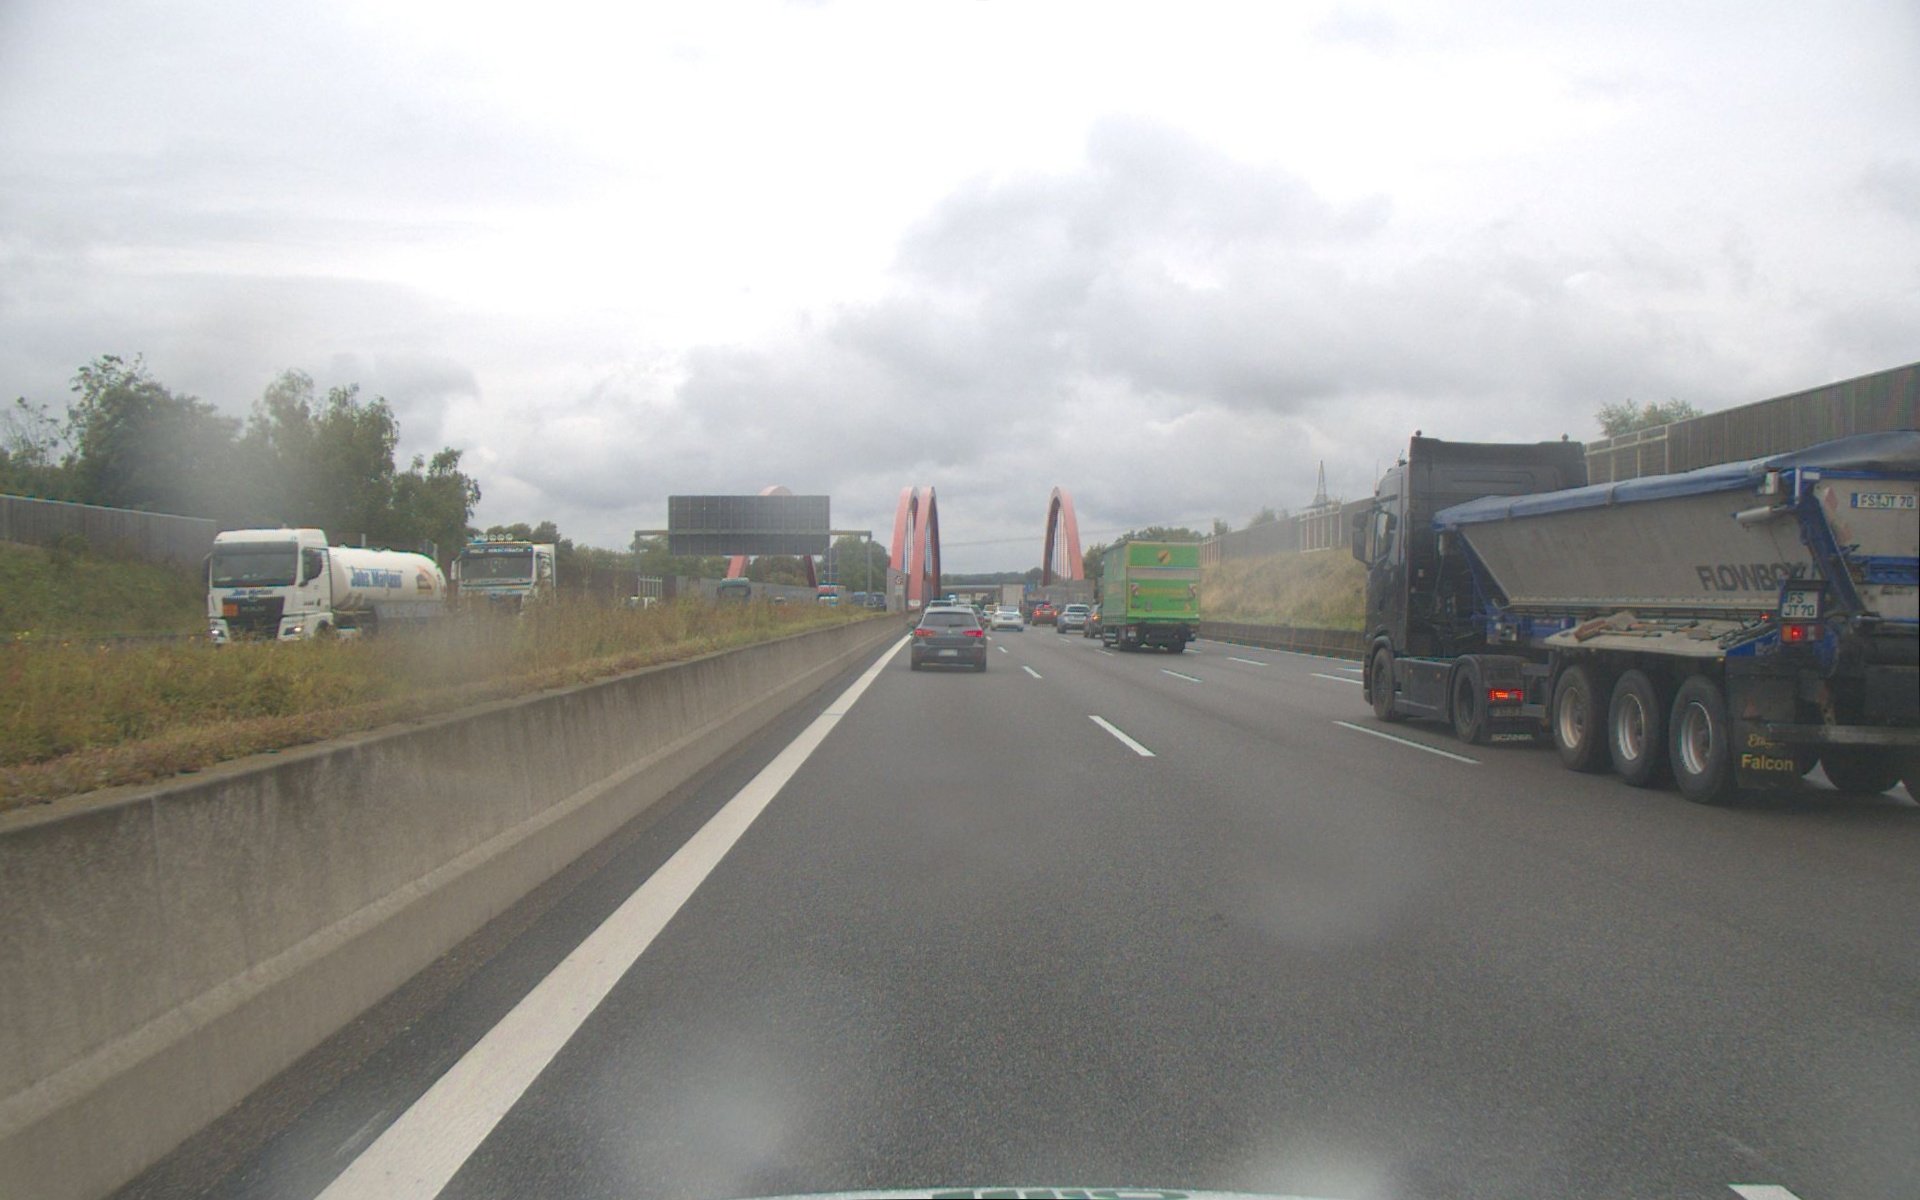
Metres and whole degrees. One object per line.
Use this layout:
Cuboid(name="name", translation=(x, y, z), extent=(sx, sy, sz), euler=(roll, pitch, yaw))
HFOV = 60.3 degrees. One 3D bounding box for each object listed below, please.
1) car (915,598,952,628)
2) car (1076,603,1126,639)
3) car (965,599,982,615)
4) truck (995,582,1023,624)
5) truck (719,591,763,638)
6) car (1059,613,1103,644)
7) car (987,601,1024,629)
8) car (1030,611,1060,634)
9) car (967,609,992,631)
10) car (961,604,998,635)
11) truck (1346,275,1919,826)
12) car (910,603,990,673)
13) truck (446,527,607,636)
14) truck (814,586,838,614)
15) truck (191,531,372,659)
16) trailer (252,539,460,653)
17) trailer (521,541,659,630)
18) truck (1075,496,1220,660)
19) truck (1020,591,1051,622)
Cuboid(name="car", translation=(-1.468, 0.697, 90.528), extent=(1.953, 1.612, 3.999), euler=(0, 0, -1))
Cuboid(name="car", translation=(6.907, 1.019, 81.323), extent=(1.874, 1.699, 4.101), euler=(1, 0, -3))
Cuboid(name="car", translation=(1.580, 0.792, 192.390), extent=(1.953, 1.847, 4.000), euler=(1, 0, 0))
Cuboid(name="truck", translation=(5.842, 0.336, 198.438), extent=(2.982, 4.817, 7.679), euler=(2, 0, 0))
Cuboid(name="truck", translation=(-19.068, 1.239, 144.364), extent=(2.804, 3.905, 7.520), euler=(2, 0, -1))
Cuboid(name="car", translation=(6.845, 1.603, 93.958), extent=(1.953, 1.647, 5.327), euler=(2, 0, -1))
Cuboid(name="car", translation=(2.584, 0.860, 95.668), extent=(1.953, 1.512, 3.999), euler=(1, 0, -1))
Cuboid(name="car", translation=(6.371, 1.671, 123.913), extent=(1.917, 1.676, 3.999), euler=(2, 0, -1))
Cuboid(name="car", translation=(1.475, 1.526, 125.739), extent=(1.668, 1.570, 3.837), euler=(1, 0, -2))
Cuboid(name="car", translation=(0.963, 0.950, 82.380), extent=(1.745, 1.431, 3.625), euler=(1, 0, -1))
Cuboid(name="truck", translation=(7.391, -0.313, 18.516), extent=(2.756, 4.019, 12.709), euler=(2, 0, -2))
Cuboid(name="car", translation=(-0.209, 0.833, 38.082), extent=(1.727, 1.478, 4.000), euler=(1, 0, 0))
Cuboid(name="truck", translation=(-13.780, -0.528, 53.363), extent=(2.896, 3.120, 8.726), euler=(2, 0, -1))
Cuboid(name="truck", translation=(-19.268, 0.002, 238.161), extent=(2.923, 3.819, 5.916), euler=(1, 0, -1))
Cuboid(name="truck", translation=(-17.787, -0.111, 43.753), extent=(2.569, 3.072, 5.610), euler=(2, 0, -3))
Cuboid(name="trailer", translation=(-17.935, -0.106, 50.029), extent=(2.559, 3.041, 10.793), euler=(1, 0, -2))
Cuboid(name="trailer", translation=(-13.874, -0.484, 63.011), extent=(2.895, 3.011, 10.567), euler=(2, 0, -1))
Cuboid(name="truck", translation=(6.636, -0.712, 60.822), extent=(3.916, 5.358, 11.218), euler=(2, 0, 0))
Cuboid(name="truck", translation=(6.333, 0.528, 138.962), extent=(2.313, 2.550, 6.143), euler=(1, 0, 0))
